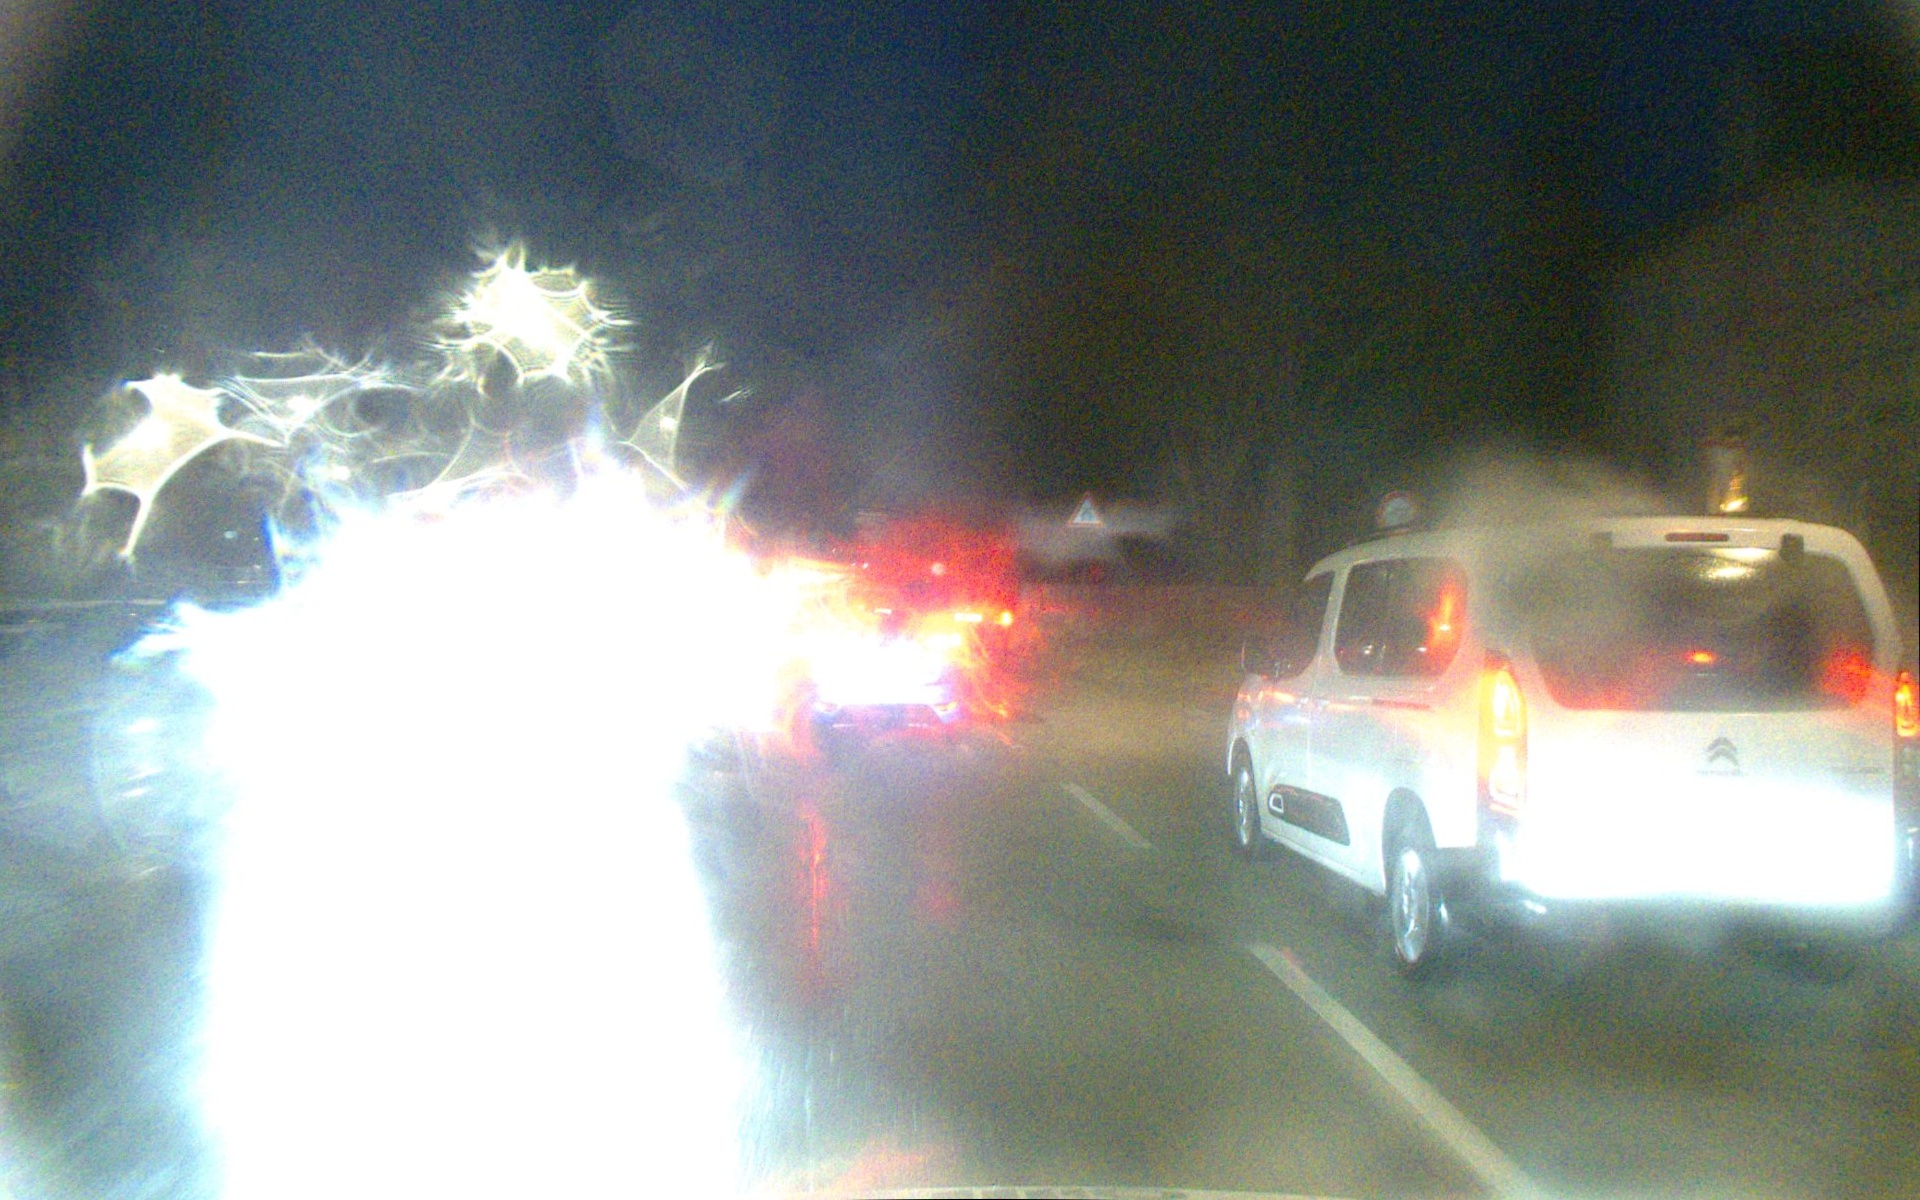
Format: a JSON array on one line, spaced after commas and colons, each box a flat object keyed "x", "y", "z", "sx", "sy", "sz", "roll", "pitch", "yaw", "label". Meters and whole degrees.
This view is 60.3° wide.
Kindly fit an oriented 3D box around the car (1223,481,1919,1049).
[{"x": 2.602, "y": 0.541, "z": 7.804, "sx": 1.815, "sy": 1.897, "sz": 4.339, "roll": 2, "pitch": 1, "yaw": -3, "label": "car"}]

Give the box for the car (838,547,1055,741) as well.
[{"x": -0.269, "y": 0.380, "z": 17.575, "sx": 1.975, "sy": 1.747, "sz": 4.448, "roll": 2, "pitch": 1, "yaw": -4, "label": "car"}]

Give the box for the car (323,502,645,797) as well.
[{"x": -3.570, "y": 0.307, "z": 13.198, "sx": 1.978, "sy": 1.920, "sz": 4.441, "roll": 2, "pitch": 1, "yaw": -10, "label": "car"}]

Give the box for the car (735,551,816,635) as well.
[{"x": -4.923, "y": -0.214, "z": 43.655, "sx": 1.956, "sy": 2.048, "sz": 3.993, "roll": 2, "pitch": 1, "yaw": -8, "label": "car"}]

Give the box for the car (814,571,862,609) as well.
[{"x": -5.645, "y": -0.498, "z": 77.199, "sx": 1.953, "sy": 1.662, "sz": 3.999, "roll": 2, "pitch": 1, "yaw": -1, "label": "car"}]

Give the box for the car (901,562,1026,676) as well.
[{"x": 0.005, "y": 0.324, "z": 32.789, "sx": 1.931, "sy": 2.082, "sz": 3.994, "roll": 2, "pitch": 1, "yaw": -7, "label": "car"}]
